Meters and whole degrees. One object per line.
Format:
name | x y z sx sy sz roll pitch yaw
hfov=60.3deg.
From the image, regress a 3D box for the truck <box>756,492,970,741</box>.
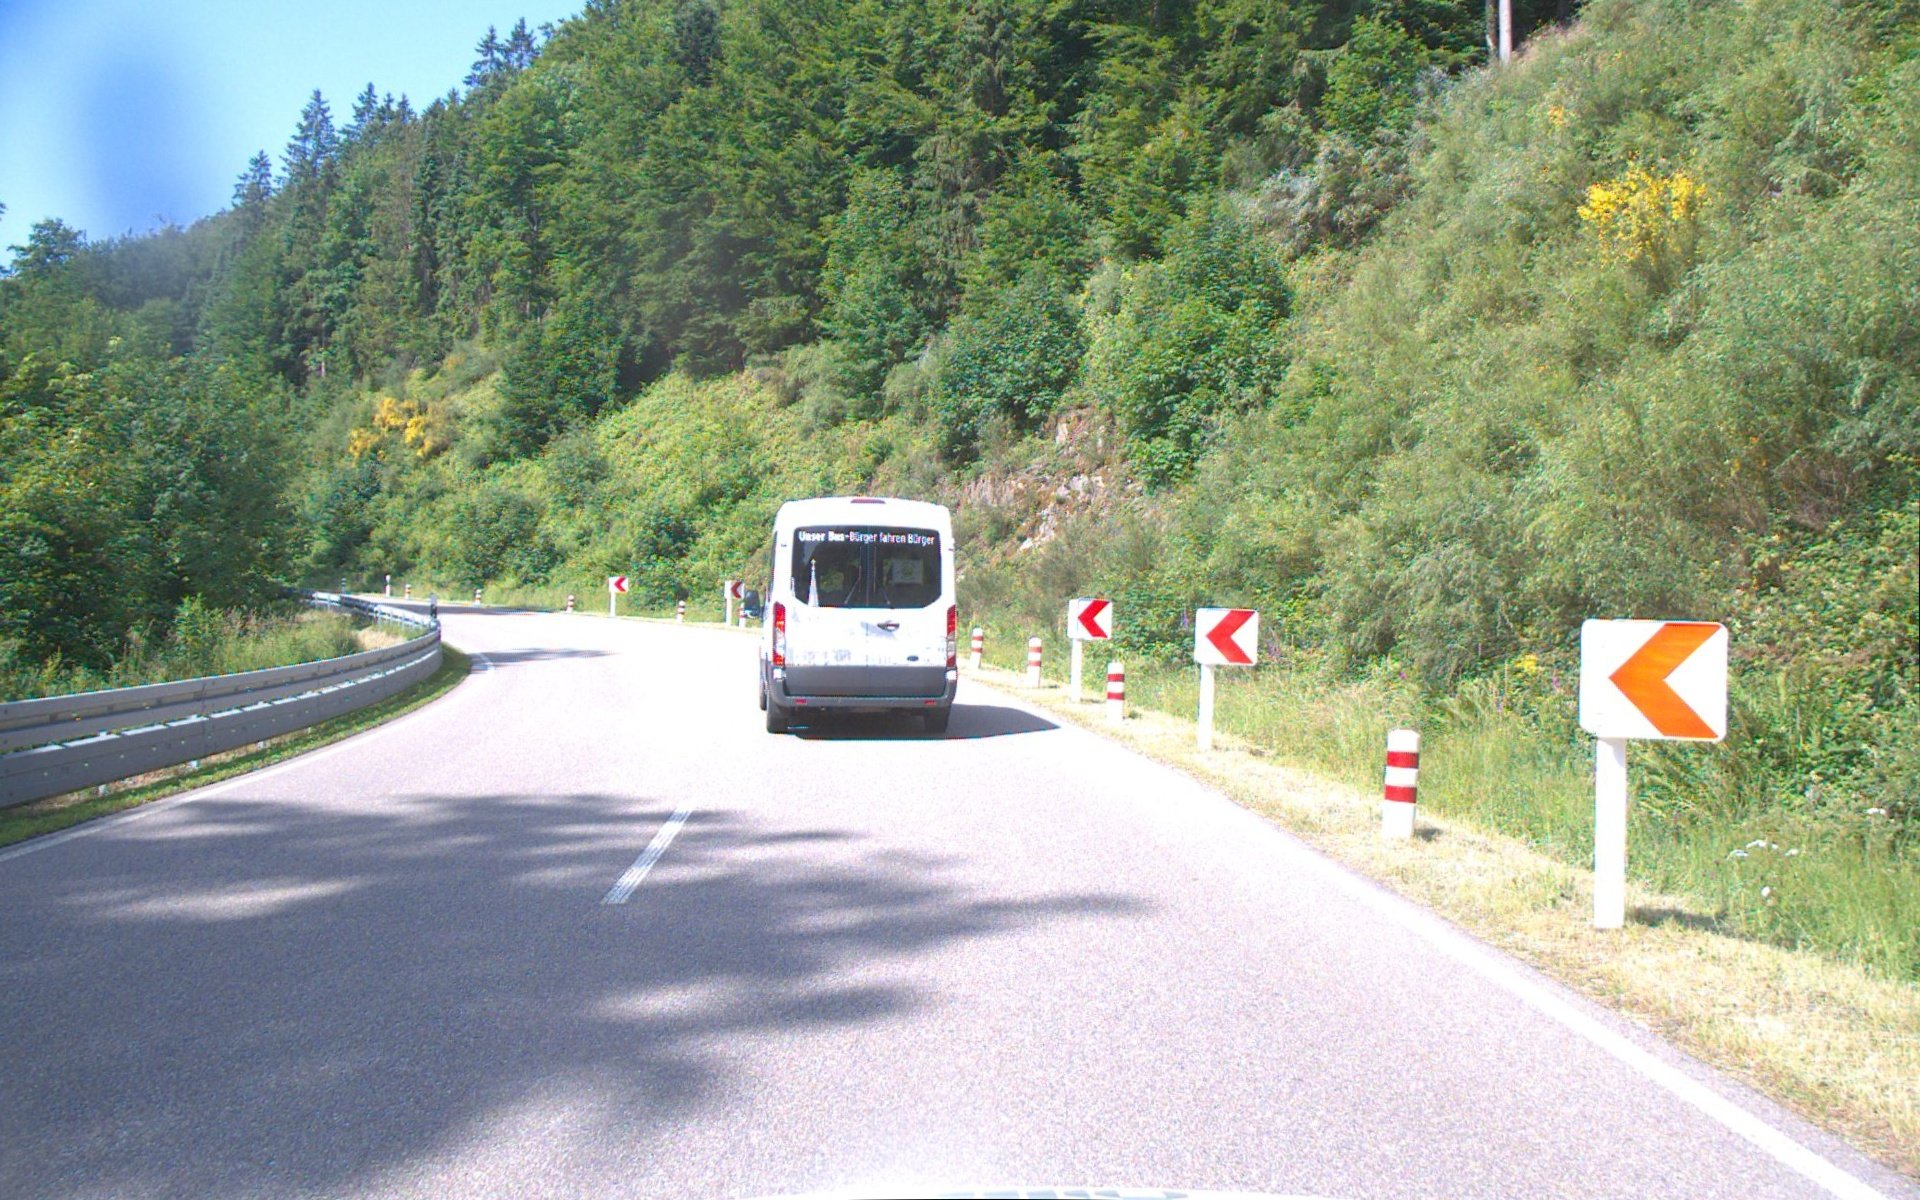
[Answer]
truck | -1.268 0.160 19.152 2.045 2.502 4.866 1 0 -8
